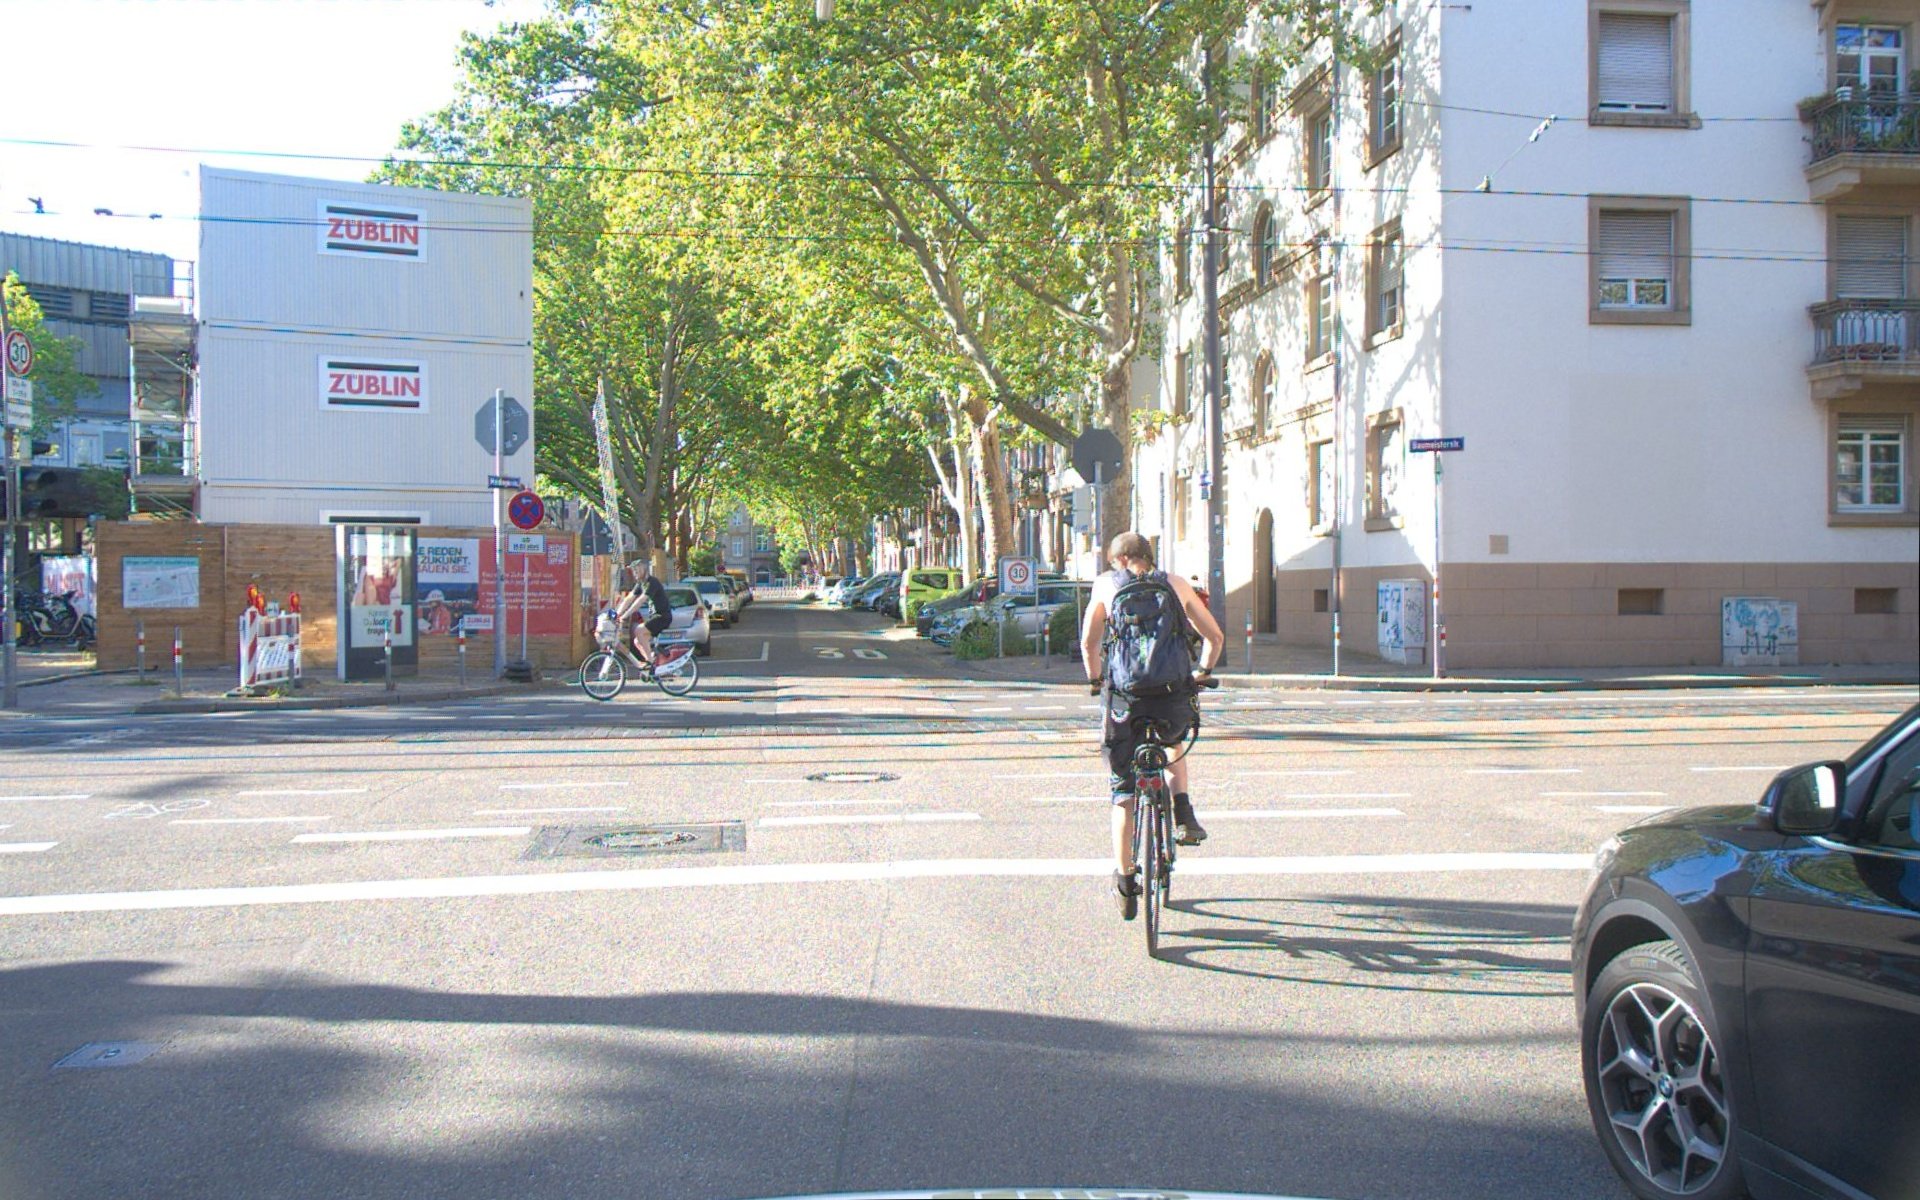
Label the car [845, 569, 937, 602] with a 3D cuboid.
[{"bbox_3d":[-3.433,-0.735,81.579,4.378,1.598,1.725,-1,1,-8],"label":"car"}]

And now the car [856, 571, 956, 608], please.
[{"bbox_3d":[-2.444,-0.475,74.573,4.378,1.598,1.725,-1,1,-8],"label":"car"}]

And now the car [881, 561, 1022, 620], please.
[{"bbox_3d":[-0.284,-0.325,53.674,4.379,1.868,1.725,-1,1,-9],"label":"car"}]

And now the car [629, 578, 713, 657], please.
[{"bbox_3d":[-6.181,0.331,35.645,1.613,1.520,3.993,-3,1,-8],"label":"car"}]

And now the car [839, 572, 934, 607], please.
[{"bbox_3d":[-3.534,-0.514,79.234,4.378,1.598,1.725,-1,1,-8],"label":"car"}]

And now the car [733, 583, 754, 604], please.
[{"bbox_3d":[-17.595,-0.546,134.145,1.634,1.590,4.211,0,1,-8],"label":"car"}]

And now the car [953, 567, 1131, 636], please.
[{"bbox_3d":[2.089,0.018,42.846,4.378,1.700,1.725,-1,1,-8],"label":"car"}]

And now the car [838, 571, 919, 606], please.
[{"bbox_3d":[-4.520,-0.647,91.597,4.378,1.931,1.725,-1,1,-8],"label":"car"}]

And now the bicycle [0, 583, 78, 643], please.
[{"bbox_3d":[-20.630,0.280,36.485,0.463,1.279,2.035,1,2,45],"label":"bicycle"}]

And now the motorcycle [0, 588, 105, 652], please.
[{"bbox_3d":[-19.316,0.414,34.915,0.534,1.279,2.196,1,2,45],"label":"motorcycle"}]

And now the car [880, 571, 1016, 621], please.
[{"bbox_3d":[-0.427,-0.147,55.687,4.378,1.598,1.725,-1,1,-8],"label":"car"}]

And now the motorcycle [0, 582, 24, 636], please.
[{"bbox_3d":[-23.512,0.232,39.240,0.534,1.279,2.196,1,2,45],"label":"motorcycle"}]

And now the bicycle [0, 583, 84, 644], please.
[{"bbox_3d":[-20.303,0.284,36.111,0.463,1.279,2.035,1,2,45],"label":"bicycle"}]

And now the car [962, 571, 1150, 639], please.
[{"bbox_3d":[2.341,0.110,40.778,4.378,1.598,1.725,-1,1,-8],"label":"car"}]

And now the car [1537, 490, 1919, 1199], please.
[{"bbox_3d":[2.589,0.667,2.672,1.724,1.691,4.196,1,1,-2],"label":"car"}]

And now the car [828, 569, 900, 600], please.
[{"bbox_3d":[-6.077,-1.003,104.295,4.378,1.931,1.725,-1,1,-8],"label":"car"}]

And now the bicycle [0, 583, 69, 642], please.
[{"bbox_3d":[-21.295,0.273,37.296,0.534,1.279,2.035,1,2,45],"label":"bicycle"}]

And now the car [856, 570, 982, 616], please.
[{"bbox_3d":[-1.496,-0.280,59.517,4.378,1.598,1.725,-1,1,-8],"label":"car"}]

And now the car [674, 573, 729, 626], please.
[{"bbox_3d":[-8.046,-0.044,51.643,1.634,1.590,3.993,0,1,-8],"label":"car"}]

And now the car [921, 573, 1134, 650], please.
[{"bbox_3d":[1.431,0.221,35.806,4.378,1.598,1.725,-1,1,-8],"label":"car"}]

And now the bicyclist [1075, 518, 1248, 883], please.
[{"bbox_3d":[0.877,0.423,7.351,0.662,1.539,0.669,1,0,0],"label":"bicyclist"}]

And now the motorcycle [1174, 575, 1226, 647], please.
[{"bbox_3d":[4.640,0.196,32.029,0.504,1.356,1.760,0,1,-9],"label":"motorcycle"}]

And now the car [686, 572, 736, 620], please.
[{"bbox_3d":[-8.603,-0.157,57.315,1.634,1.590,4.510,0,1,-8],"label":"car"}]

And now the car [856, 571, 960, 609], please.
[{"bbox_3d":[-2.284,-0.459,72.102,4.378,1.598,1.725,-1,1,-8],"label":"car"}]

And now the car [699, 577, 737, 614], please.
[{"bbox_3d":[-10.800,-0.230,73.896,1.634,1.590,4.607,0,1,-8],"label":"car"}]

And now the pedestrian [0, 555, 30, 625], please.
[{"bbox_3d":[-27.789,-0.302,48.579,0.792,2.048,1.020,-1,1,-31],"label":"pedestrian"}]

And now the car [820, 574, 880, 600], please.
[{"bbox_3d":[-8.248,-0.961,123.913,4.378,1.931,1.725,-1,1,-8],"label":"car"}]

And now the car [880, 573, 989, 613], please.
[{"bbox_3d":[-1.064,-0.300,69.033,4.378,1.598,1.725,-1,1,-8],"label":"car"}]

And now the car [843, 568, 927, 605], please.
[{"bbox_3d":[-4.023,-0.731,88.873,4.378,1.931,1.725,-1,1,-8],"label":"car"}]

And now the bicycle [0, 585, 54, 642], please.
[{"bbox_3d":[-22.109,0.306,38.147,0.534,1.279,2.035,1,2,45],"label":"bicycle"}]

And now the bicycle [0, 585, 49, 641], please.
[{"bbox_3d":[-22.469,0.300,38.613,0.534,1.279,2.035,1,2,45],"label":"bicycle"}]

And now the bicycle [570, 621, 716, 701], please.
[{"bbox_3d":[-4.422,0.832,23.099,1.891,1.036,0.677,-1,1,-25],"label":"bicycle"}]

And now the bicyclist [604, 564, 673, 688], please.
[{"bbox_3d":[-4.489,0.349,23.064,0.799,1.687,0.677,-1,1,-25],"label":"bicyclist"}]

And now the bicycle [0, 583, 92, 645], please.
[{"bbox_3d":[-19.965,0.287,35.783,0.463,1.279,2.035,1,2,45],"label":"bicycle"}]

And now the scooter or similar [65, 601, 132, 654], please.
[{"bbox_3d":[-17.878,0.553,34.353,0.376,1.038,1.489,0,2,11],"label":"scooter or similar"}]

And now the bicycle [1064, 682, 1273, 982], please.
[{"bbox_3d":[0.867,0.947,7.361,0.675,1.034,1.907,1,1,0],"label":"bicycle"}]
